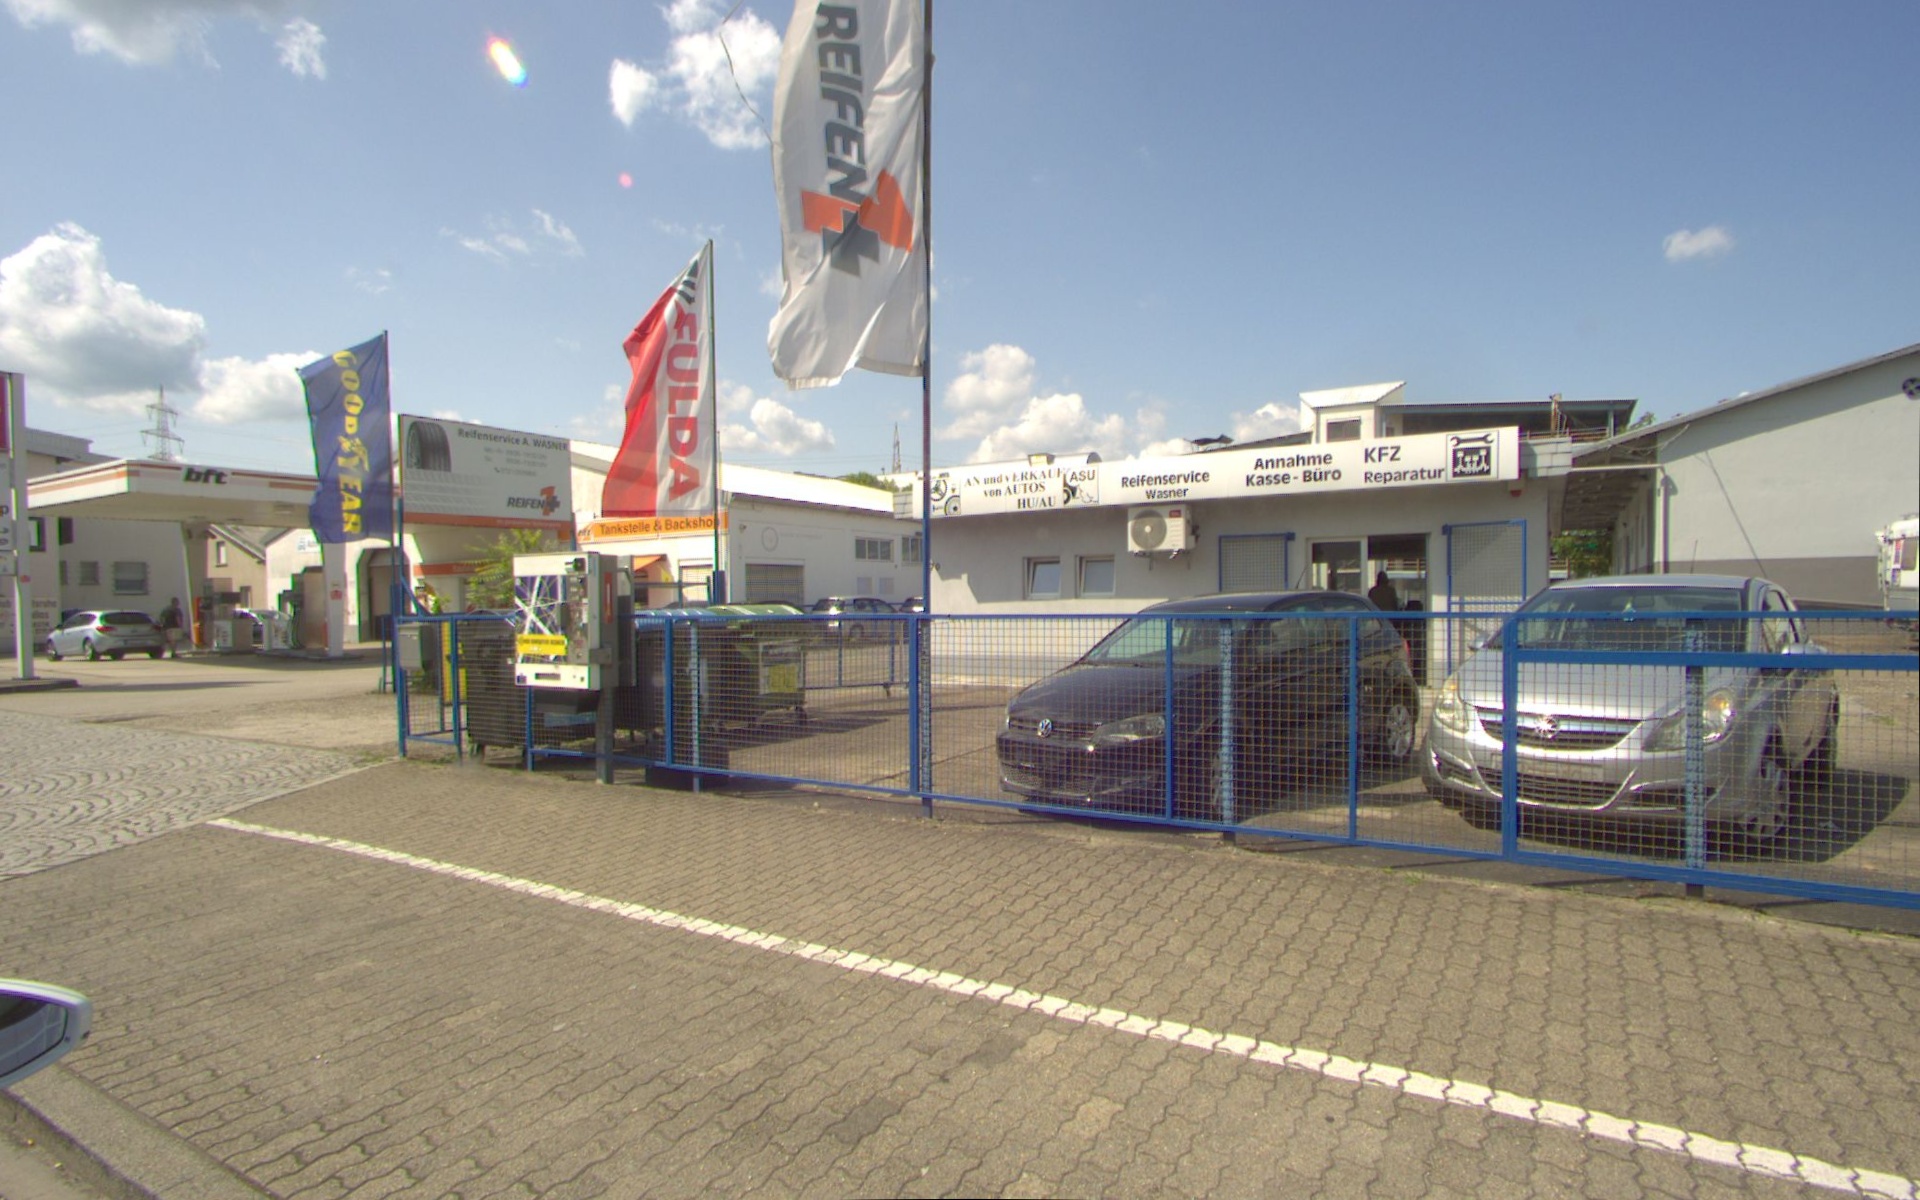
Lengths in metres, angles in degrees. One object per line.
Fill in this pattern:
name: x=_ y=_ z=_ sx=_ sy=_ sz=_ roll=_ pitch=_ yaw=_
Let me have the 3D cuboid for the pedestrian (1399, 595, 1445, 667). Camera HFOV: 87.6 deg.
pedestrian: x=8.043 y=0.532 z=17.436 sx=0.654 sy=1.225 sz=0.563 roll=0 pitch=1 yaw=34

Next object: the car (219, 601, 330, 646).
car: x=-24.322 y=0.814 z=35.526 sx=3.777 sy=1.523 sz=1.803 roll=0 pitch=0 yaw=31

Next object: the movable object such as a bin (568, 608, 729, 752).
movable object such as a bin: x=-3.330 y=0.802 z=10.735 sx=1.225 sy=1.415 sz=1.106 roll=0 pitch=1 yaw=31

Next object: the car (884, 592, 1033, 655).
car: x=0.060 y=0.524 z=25.318 sx=1.651 sy=1.434 sz=4.260 roll=0 pitch=1 yaw=34

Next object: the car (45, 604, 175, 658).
car: x=-25.740 y=0.897 z=30.303 sx=3.776 sy=1.523 sz=1.803 roll=0 pitch=0 yaw=30

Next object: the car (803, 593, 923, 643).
car: x=-3.018 y=0.524 z=32.048 sx=1.564 sy=1.482 sz=4.187 roll=0 pitch=0 yaw=33

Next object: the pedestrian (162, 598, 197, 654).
pedestrian: x=-23.779 y=0.797 z=30.513 sx=0.698 sy=1.679 sz=0.546 roll=-1 pitch=1 yaw=-22

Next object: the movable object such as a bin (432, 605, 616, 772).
movable object such as a bin: x=-4.163 y=0.785 z=9.605 sx=1.225 sy=1.455 sz=1.106 roll=0 pitch=1 yaw=31

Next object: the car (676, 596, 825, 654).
car: x=-5.721 y=0.639 z=27.816 sx=1.564 sy=1.482 sz=4.187 roll=0 pitch=0 yaw=33

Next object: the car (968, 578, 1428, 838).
car: x=1.940 y=0.601 z=7.515 sx=3.655 sy=1.472 sz=1.625 roll=-1 pitch=1 yaw=-43

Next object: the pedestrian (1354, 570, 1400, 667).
pedestrian: x=7.349 y=0.318 z=17.643 sx=0.654 sy=1.671 sz=0.563 roll=0 pitch=1 yaw=34

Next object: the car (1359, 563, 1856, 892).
car: x=4.269 y=0.561 z=6.378 sx=3.729 sy=1.472 sz=1.757 roll=-1 pitch=0 yaw=-42

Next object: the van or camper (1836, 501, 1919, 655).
van or camper: x=21.012 y=-0.454 z=19.526 sx=5.571 sy=3.005 sz=2.264 roll=0 pitch=1 yaw=31

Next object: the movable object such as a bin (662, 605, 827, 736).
movable object such as a bin: x=-2.537 y=0.782 z=11.900 sx=1.318 sy=1.415 sz=1.400 roll=0 pitch=1 yaw=31

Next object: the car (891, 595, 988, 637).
car: x=-0.671 y=0.531 z=35.690 sx=1.564 sy=1.385 sz=3.860 roll=0 pitch=0 yaw=33

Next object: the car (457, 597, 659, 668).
car: x=-9.168 y=0.686 z=23.161 sx=1.564 sy=1.482 sz=4.187 roll=0 pitch=0 yaw=33
